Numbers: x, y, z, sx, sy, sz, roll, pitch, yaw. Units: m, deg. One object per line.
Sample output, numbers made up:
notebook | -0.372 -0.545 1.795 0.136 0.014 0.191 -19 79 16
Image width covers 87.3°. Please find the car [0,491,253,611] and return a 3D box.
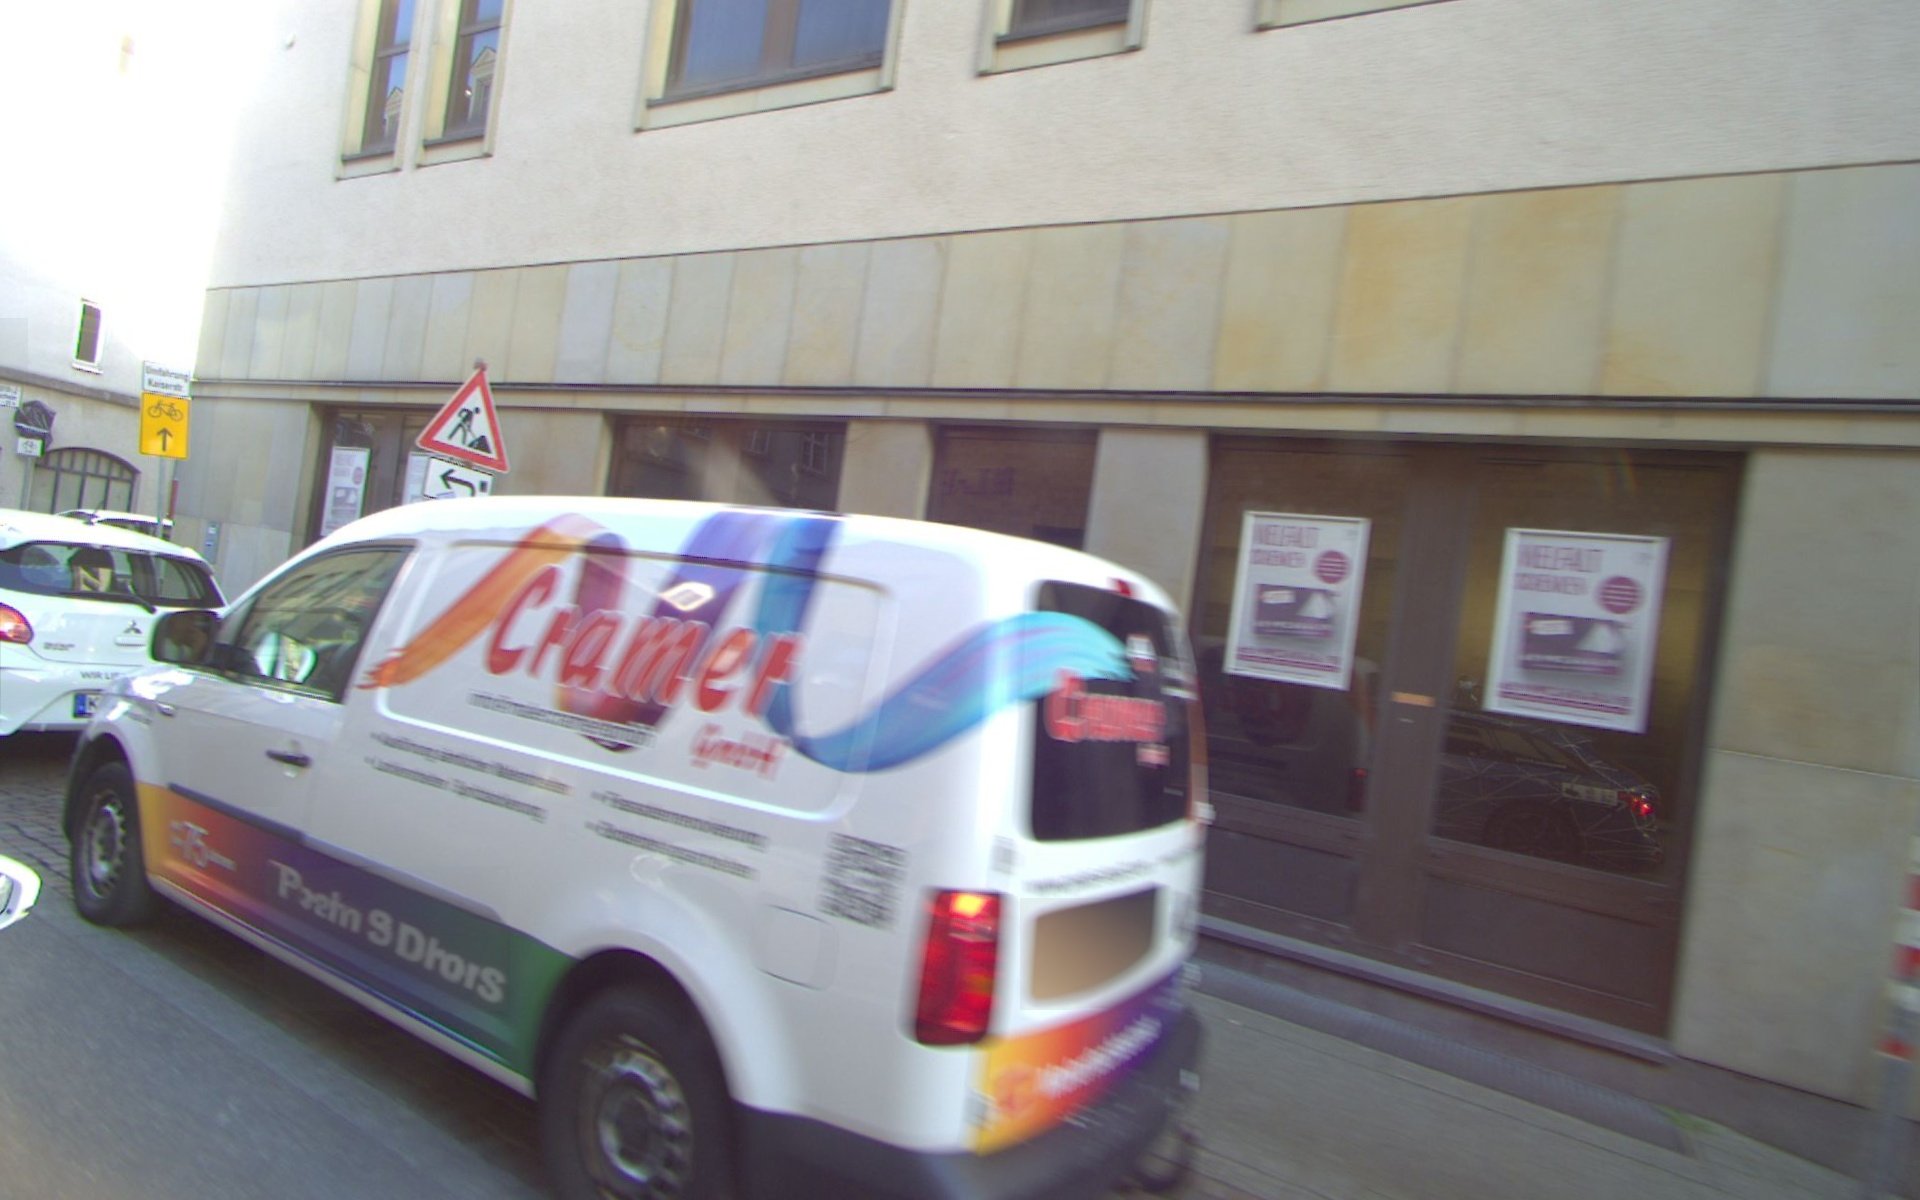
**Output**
car | -15.396 -0.892 17.794 1.869 1.570 4.228 8 -2 29

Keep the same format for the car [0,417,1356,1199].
car | -1.497 0.504 3.719 5.126 1.811 1.835 7 -2 31

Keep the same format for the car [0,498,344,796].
car | -6.451 0.103 6.821 3.991 1.535 1.894 8 -2 26
